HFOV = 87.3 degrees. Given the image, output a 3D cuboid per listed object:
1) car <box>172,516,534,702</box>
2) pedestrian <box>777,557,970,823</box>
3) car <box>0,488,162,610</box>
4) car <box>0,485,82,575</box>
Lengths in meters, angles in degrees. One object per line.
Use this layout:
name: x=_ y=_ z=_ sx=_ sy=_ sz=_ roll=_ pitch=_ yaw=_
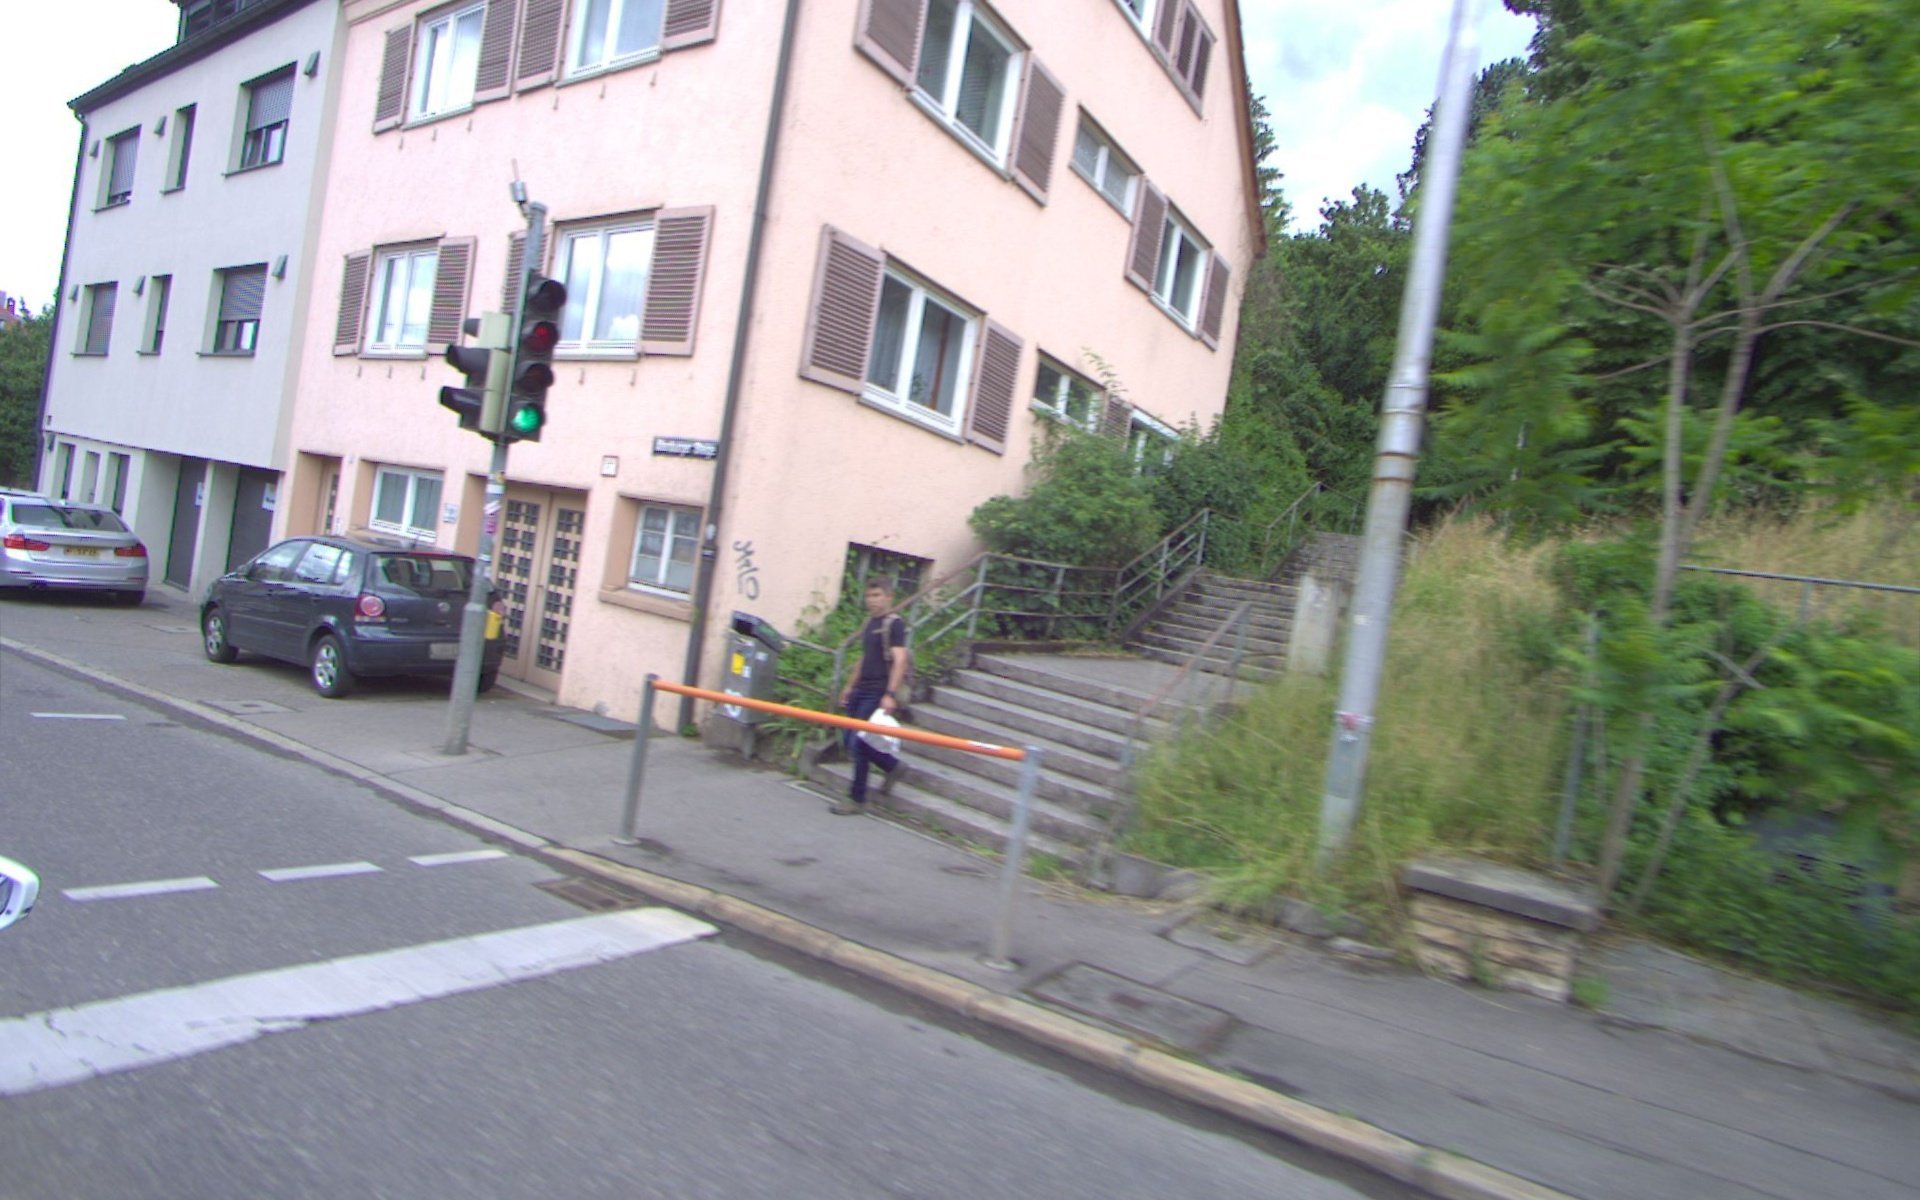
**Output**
car: x=-6.456 y=0.010 z=10.586 sx=3.935 sy=1.471 sz=1.681 roll=6 pitch=3 yaw=33
pedestrian: x=-0.629 y=0.618 z=7.302 sx=0.861 sy=1.719 sz=0.884 roll=9 pitch=4 yaw=42
car: x=-13.887 y=-0.856 z=15.106 sx=4.645 sy=1.471 sz=1.792 roll=7 pitch=3 yaw=36
car: x=-17.713 y=-1.384 z=18.282 sx=3.943 sy=1.441 sz=1.793 roll=6 pitch=1 yaw=37
